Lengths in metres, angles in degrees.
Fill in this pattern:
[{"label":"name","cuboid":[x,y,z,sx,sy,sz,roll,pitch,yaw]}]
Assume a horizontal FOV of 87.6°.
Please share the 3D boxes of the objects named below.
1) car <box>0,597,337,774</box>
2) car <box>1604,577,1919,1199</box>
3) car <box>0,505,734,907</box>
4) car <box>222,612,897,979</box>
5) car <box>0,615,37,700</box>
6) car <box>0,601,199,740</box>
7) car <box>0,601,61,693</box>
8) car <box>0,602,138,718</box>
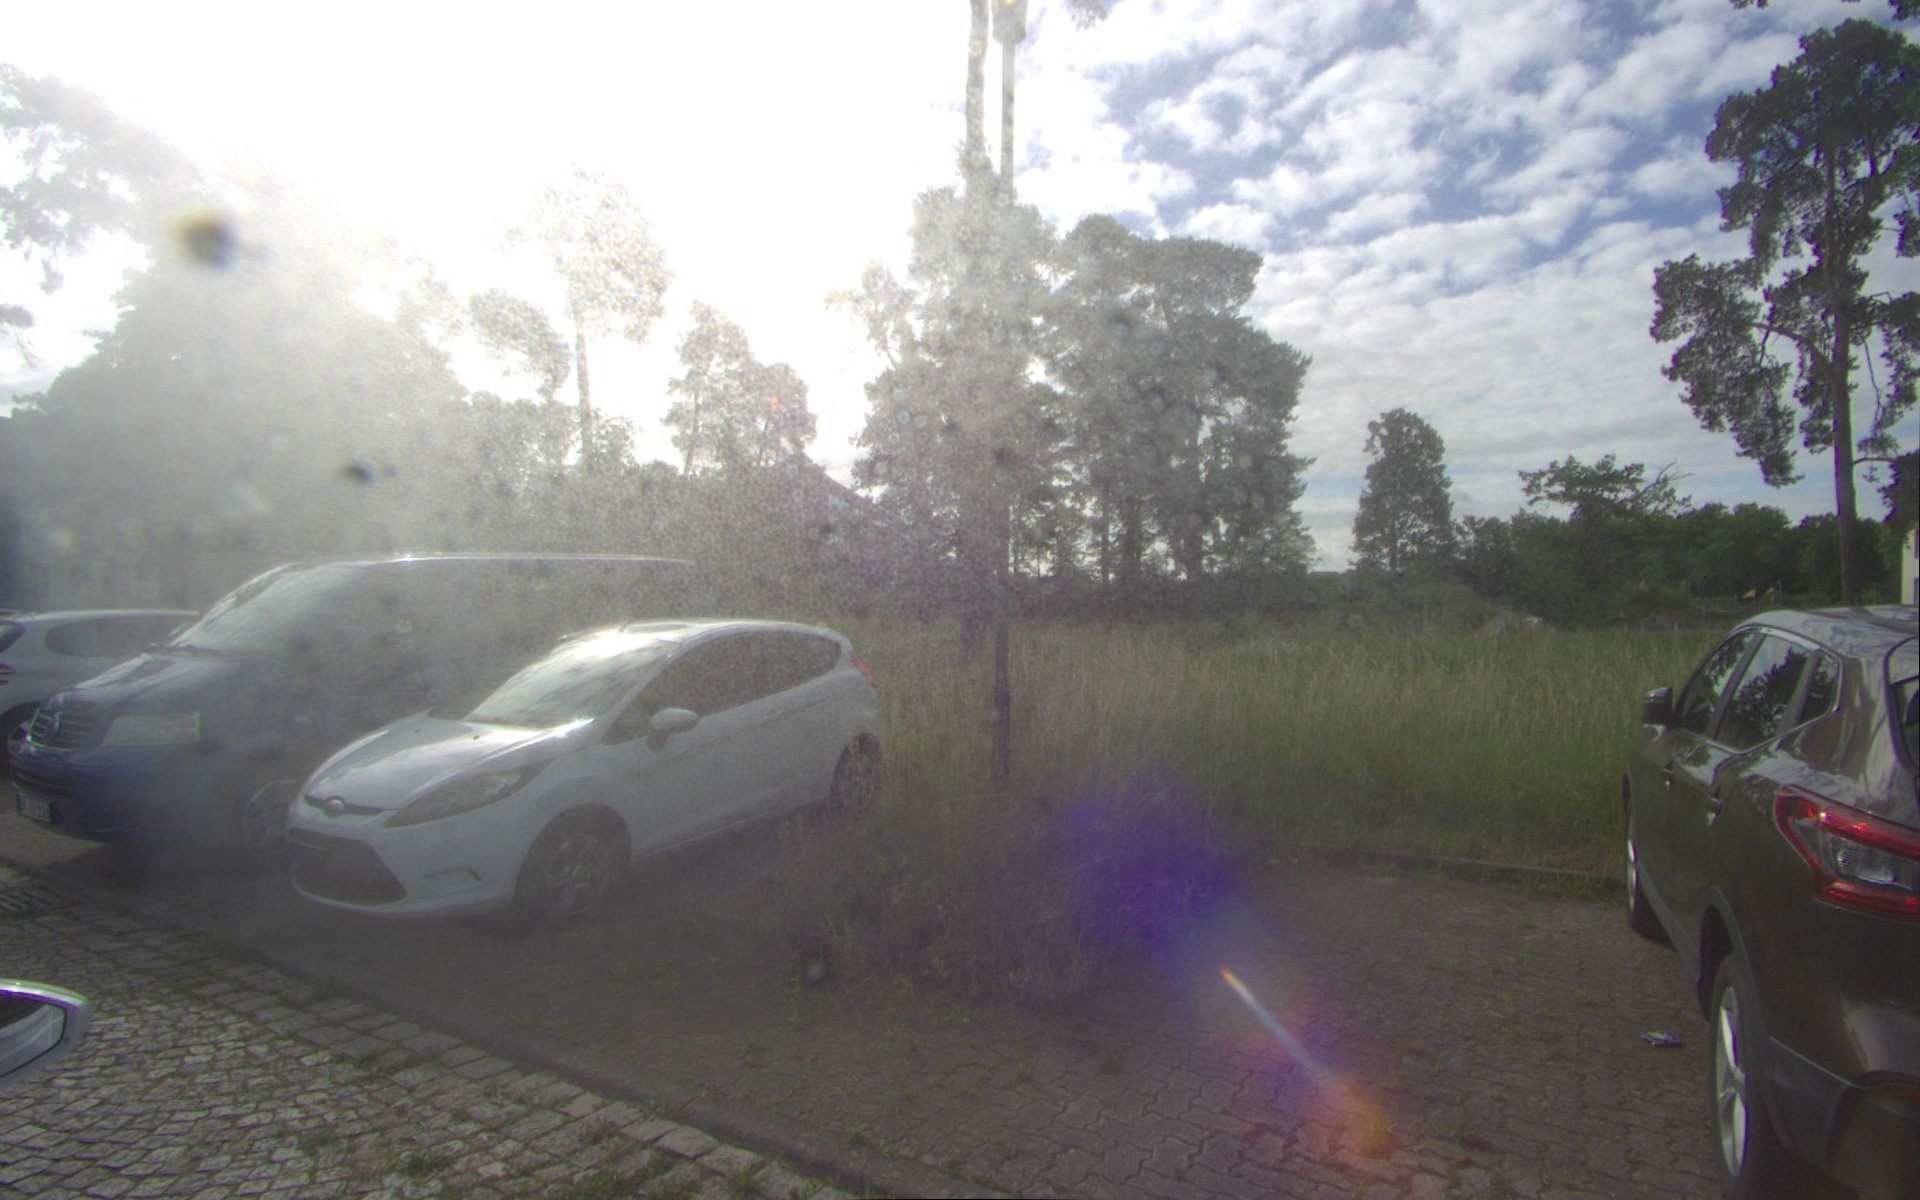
[{"label":"car","cuboid":[-8.597,0.754,10.356,1.638,1.525,3.288,1,1,29]},{"label":"car","cuboid":[3.274,0.795,3.248,1.735,1.601,3.946,1,-1,29]},{"label":"car","cuboid":[-4.010,0.574,7.666,1.711,2.066,4.777,1,0,29]},{"label":"car","cuboid":[-2.060,0.845,6.217,1.629,1.443,3.718,1,1,28]},{"label":"car","cuboid":[-15.923,0.872,14.579,1.637,1.284,3.292,1,0,25]},{"label":"car","cuboid":[-11.273,0.781,11.615,1.635,1.526,3.602,1,0,20]},{"label":"car","cuboid":[-17.489,0.773,16.271,1.637,1.564,3.987,1,-1,25]},{"label":"car","cuboid":[-13.447,0.790,13.504,1.635,1.524,3.296,1,0,21]}]
